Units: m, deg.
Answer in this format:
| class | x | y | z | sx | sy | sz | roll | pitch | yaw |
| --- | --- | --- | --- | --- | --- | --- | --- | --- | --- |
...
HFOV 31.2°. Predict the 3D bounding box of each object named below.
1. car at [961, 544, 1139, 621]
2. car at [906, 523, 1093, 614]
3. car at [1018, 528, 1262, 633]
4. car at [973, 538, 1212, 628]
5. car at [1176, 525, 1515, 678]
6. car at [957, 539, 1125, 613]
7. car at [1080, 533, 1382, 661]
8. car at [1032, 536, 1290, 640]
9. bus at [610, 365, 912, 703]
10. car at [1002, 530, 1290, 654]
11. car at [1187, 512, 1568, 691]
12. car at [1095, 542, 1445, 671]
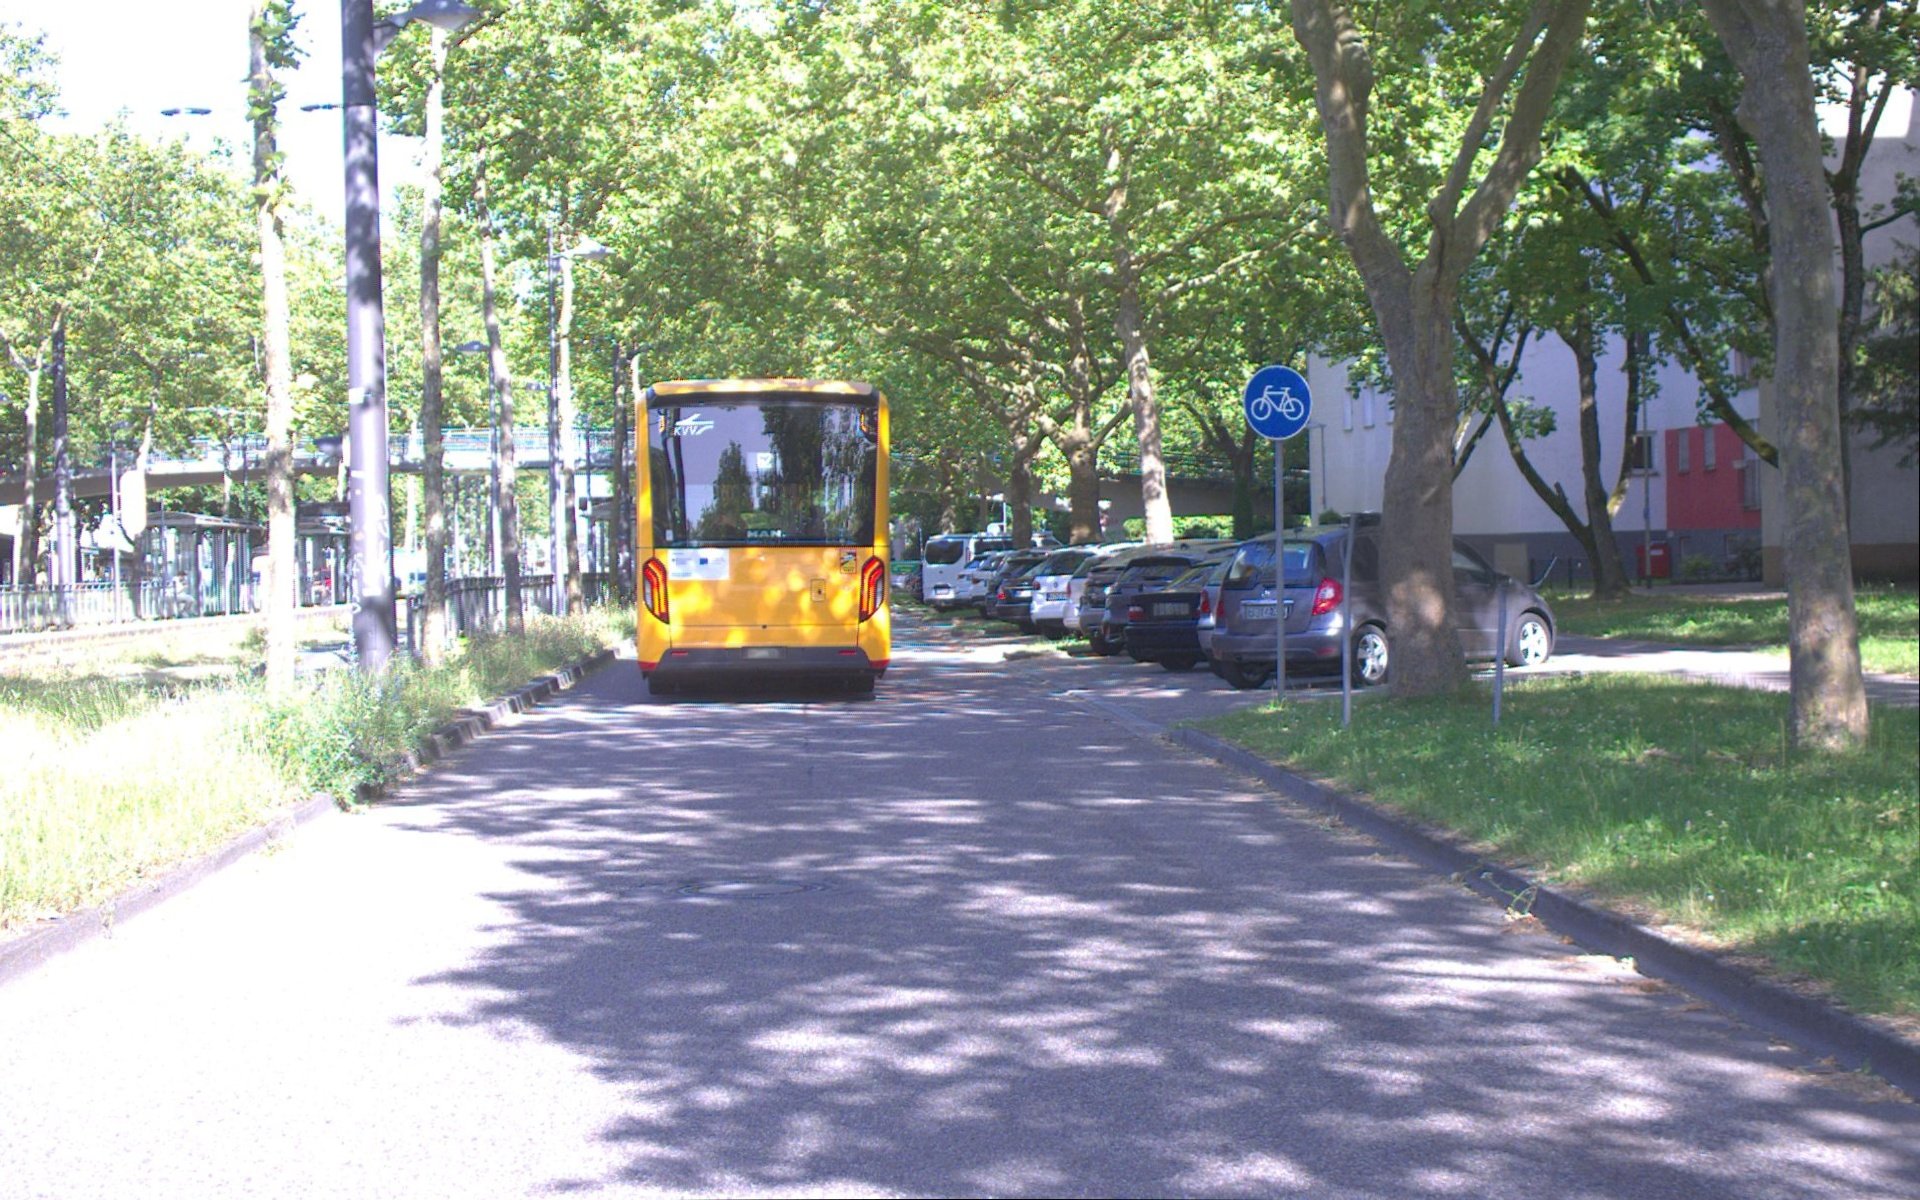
| class | x | y | z | sx | sy | sz | roll | pitch | yaw |
| --- | --- | --- | --- | --- | --- | --- | --- | --- | --- |
| car | 2.104 | -0.419 | 79.058 | 1.798 | 1.505 | 4.203 | -3 | 1 | 40 |
| car | 1.031 | -0.822 | 88.573 | 4.578 | 2.045 | 2.016 | -4 | 1 | -43 |
| car | 3.062 | -0.333 | 58.077 | 3.989 | 1.570 | 1.799 | -4 | 1 | -43 |
| car | 2.455 | -0.324 | 62.702 | 1.798 | 1.418 | 4.579 | -2 | 1 | 42 |
| car | 4.276 | -0.001 | 37.841 | 3.575 | 1.487 | 1.799 | -4 | 1 | -45 |
| car | 2.032 | -0.607 | 85.304 | 1.831 | 1.575 | 4.048 | -3 | 1 | 44 |
| car | 3.537 | -0.057 | 44.380 | 1.799 | 1.441 | 3.878 | -2 | 1 | 44 |
| car | 3.221 | -0.201 | 54.570 | 3.990 | 1.439 | 1.799 | -4 | 1 | -44 |
| bus | -2.360 | -0.712 | 39.777 | 2.899 | 3.255 | 12.219 | -1 | 1 | -4 |
| car | 2.644 | -0.131 | 47.966 | 1.798 | 1.505 | 4.168 | -2 | 1 | 40 |
| car | 4.232 | -0.003 | 34.564 | 3.717 | 1.587 | 1.799 | -4 | 1 | -44 |
| car | 3.727 | 0.058 | 40.896 | 4.136 | 1.313 | 1.799 | -4 | 1 | -43 |
